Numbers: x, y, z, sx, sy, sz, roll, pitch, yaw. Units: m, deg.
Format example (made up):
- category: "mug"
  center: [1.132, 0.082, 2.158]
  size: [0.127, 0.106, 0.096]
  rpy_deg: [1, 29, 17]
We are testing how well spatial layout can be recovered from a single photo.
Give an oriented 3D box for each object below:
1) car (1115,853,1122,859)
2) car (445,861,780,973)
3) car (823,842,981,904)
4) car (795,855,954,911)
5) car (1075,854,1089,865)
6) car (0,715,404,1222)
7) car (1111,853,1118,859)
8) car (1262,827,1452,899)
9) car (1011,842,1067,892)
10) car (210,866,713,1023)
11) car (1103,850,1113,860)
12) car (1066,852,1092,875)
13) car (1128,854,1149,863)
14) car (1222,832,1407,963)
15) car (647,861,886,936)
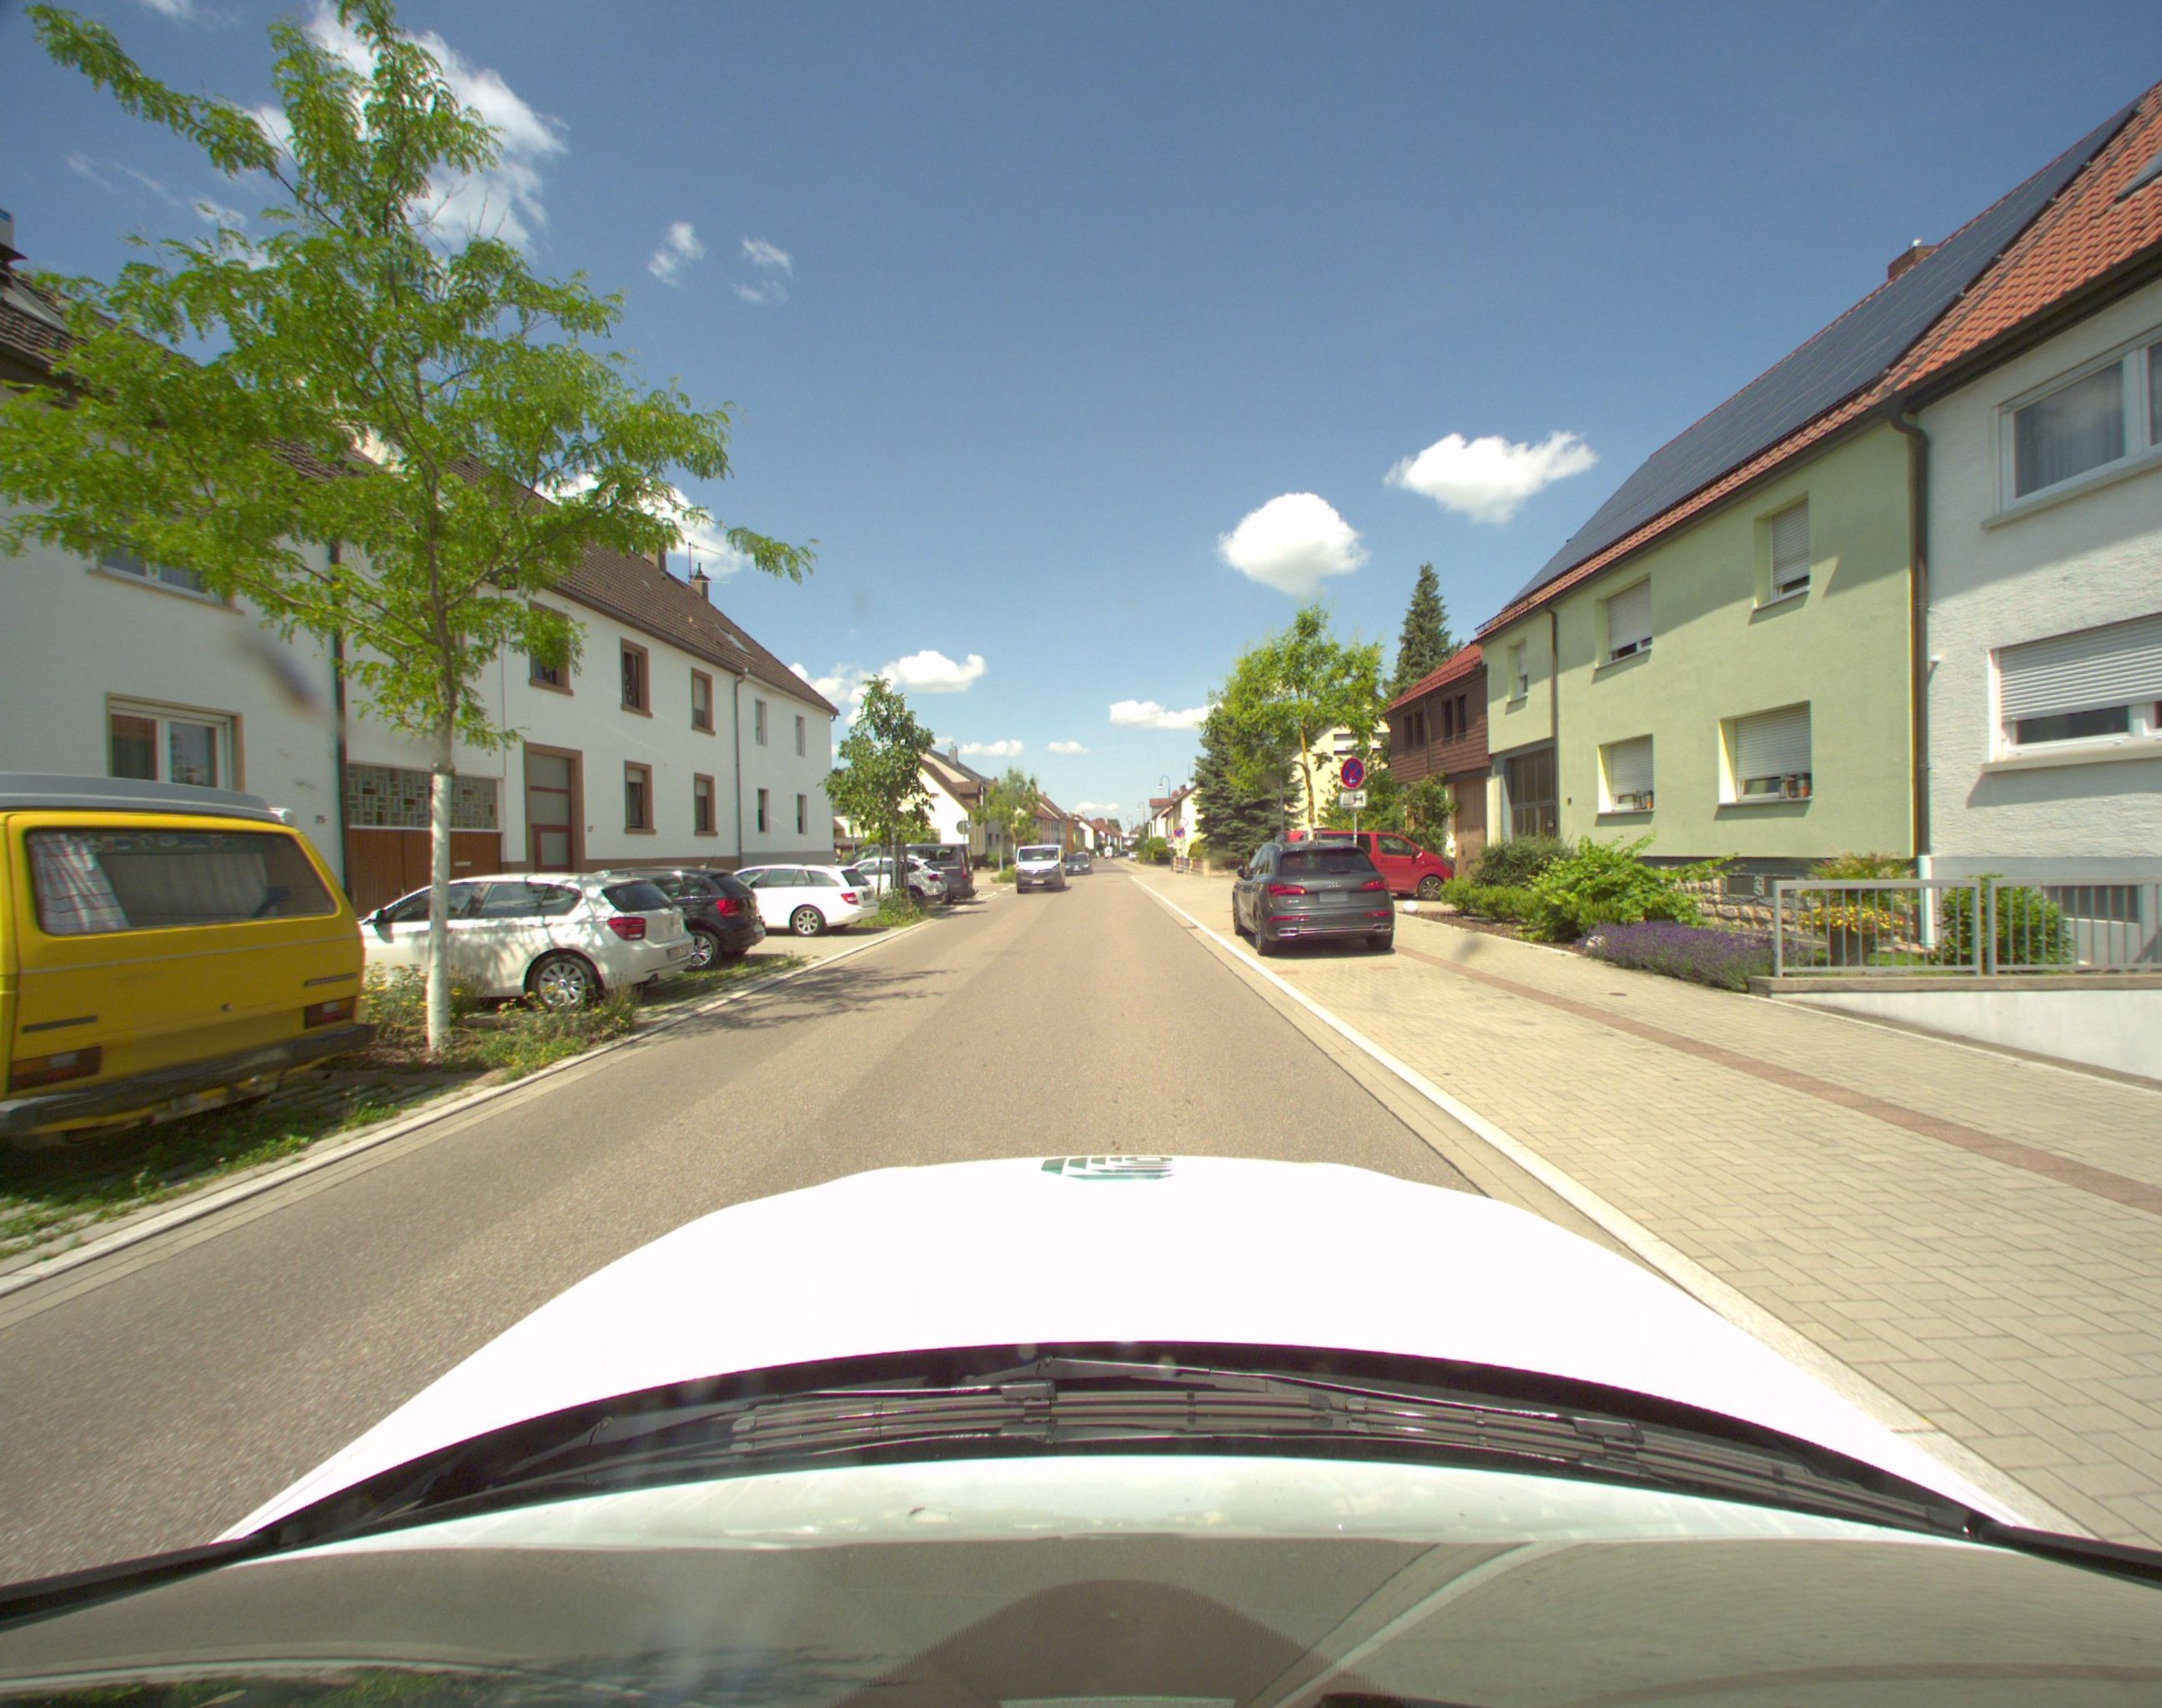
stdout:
- category: "car"
  center: [10.196, 0.572, 219.803]
  size: [1.683, 1.660, 3.776]
  rpy_deg: [0, -1, 5]
- category: "car"
  center: [-6.634, 0.850, 11.922]
  size: [3.875, 1.468, 1.655]
  rpy_deg: [0, -1, -7]
- category: "car"
  center: [-5.766, 0.604, 26.629]
  size: [4.683, 1.923, 1.938]
  rpy_deg: [0, -1, 1]
- category: "car"
  center: [-5.948, 0.832, 23.843]
  size: [4.173, 1.569, 1.772]
  rpy_deg: [0, -1, -3]
- category: "car"
  center: [0.188, 0.812, 120.550]
  size: [1.841, 1.659, 4.005]
  rpy_deg: [1, 0, 4]
- category: "car"
  center: [-6.791, 0.500, 4.490]
  size: [4.492, 2.177, 1.925]
  rpy_deg: [0, 0, 1]
- category: "car"
  center: [8.661, 0.484, 212.355]
  size: [1.683, 1.504, 3.776]
  rpy_deg: [0, -1, 5]
- category: "car"
  center: [7.558, 0.255, 22.617]
  size: [4.604, 1.893, 2.020]
  rpy_deg: [0, -1, 0]
- category: "car"
  center: [-1.695, 0.535, 34.736]
  size: [2.016, 1.950, 4.898]
  rpy_deg: [-2, -1, 0]
- category: "car"
  center: [-6.504, 0.893, 9.012]
  size: [4.068, 1.468, 1.749]
  rpy_deg: [0, 0, -7]
- category: "car"
  center: [6.300, 0.347, 190.389]
  size: [2.035, 2.312, 3.776]
  rpy_deg: [0, -1, 5]
- category: "car"
  center: [-0.123, 0.678, 58.405]
  size: [1.757, 1.523, 4.049]
  rpy_deg: [-3, 0, 0]
- category: "car"
  center: [9.606, 0.705, 136.233]
  size: [3.510, 1.464, 1.629]
  rpy_deg: [0, -1, 2]
- category: "car"
  center: [3.488, 0.558, 13.052]
  size: [1.856, 1.635, 4.451]
  rpy_deg: [-4, 0, 4]
- category: "car"
  center: [-6.450, 0.891, 16.999]
  size: [4.277, 1.468, 1.775]
  rpy_deg: [0, -1, 3]
